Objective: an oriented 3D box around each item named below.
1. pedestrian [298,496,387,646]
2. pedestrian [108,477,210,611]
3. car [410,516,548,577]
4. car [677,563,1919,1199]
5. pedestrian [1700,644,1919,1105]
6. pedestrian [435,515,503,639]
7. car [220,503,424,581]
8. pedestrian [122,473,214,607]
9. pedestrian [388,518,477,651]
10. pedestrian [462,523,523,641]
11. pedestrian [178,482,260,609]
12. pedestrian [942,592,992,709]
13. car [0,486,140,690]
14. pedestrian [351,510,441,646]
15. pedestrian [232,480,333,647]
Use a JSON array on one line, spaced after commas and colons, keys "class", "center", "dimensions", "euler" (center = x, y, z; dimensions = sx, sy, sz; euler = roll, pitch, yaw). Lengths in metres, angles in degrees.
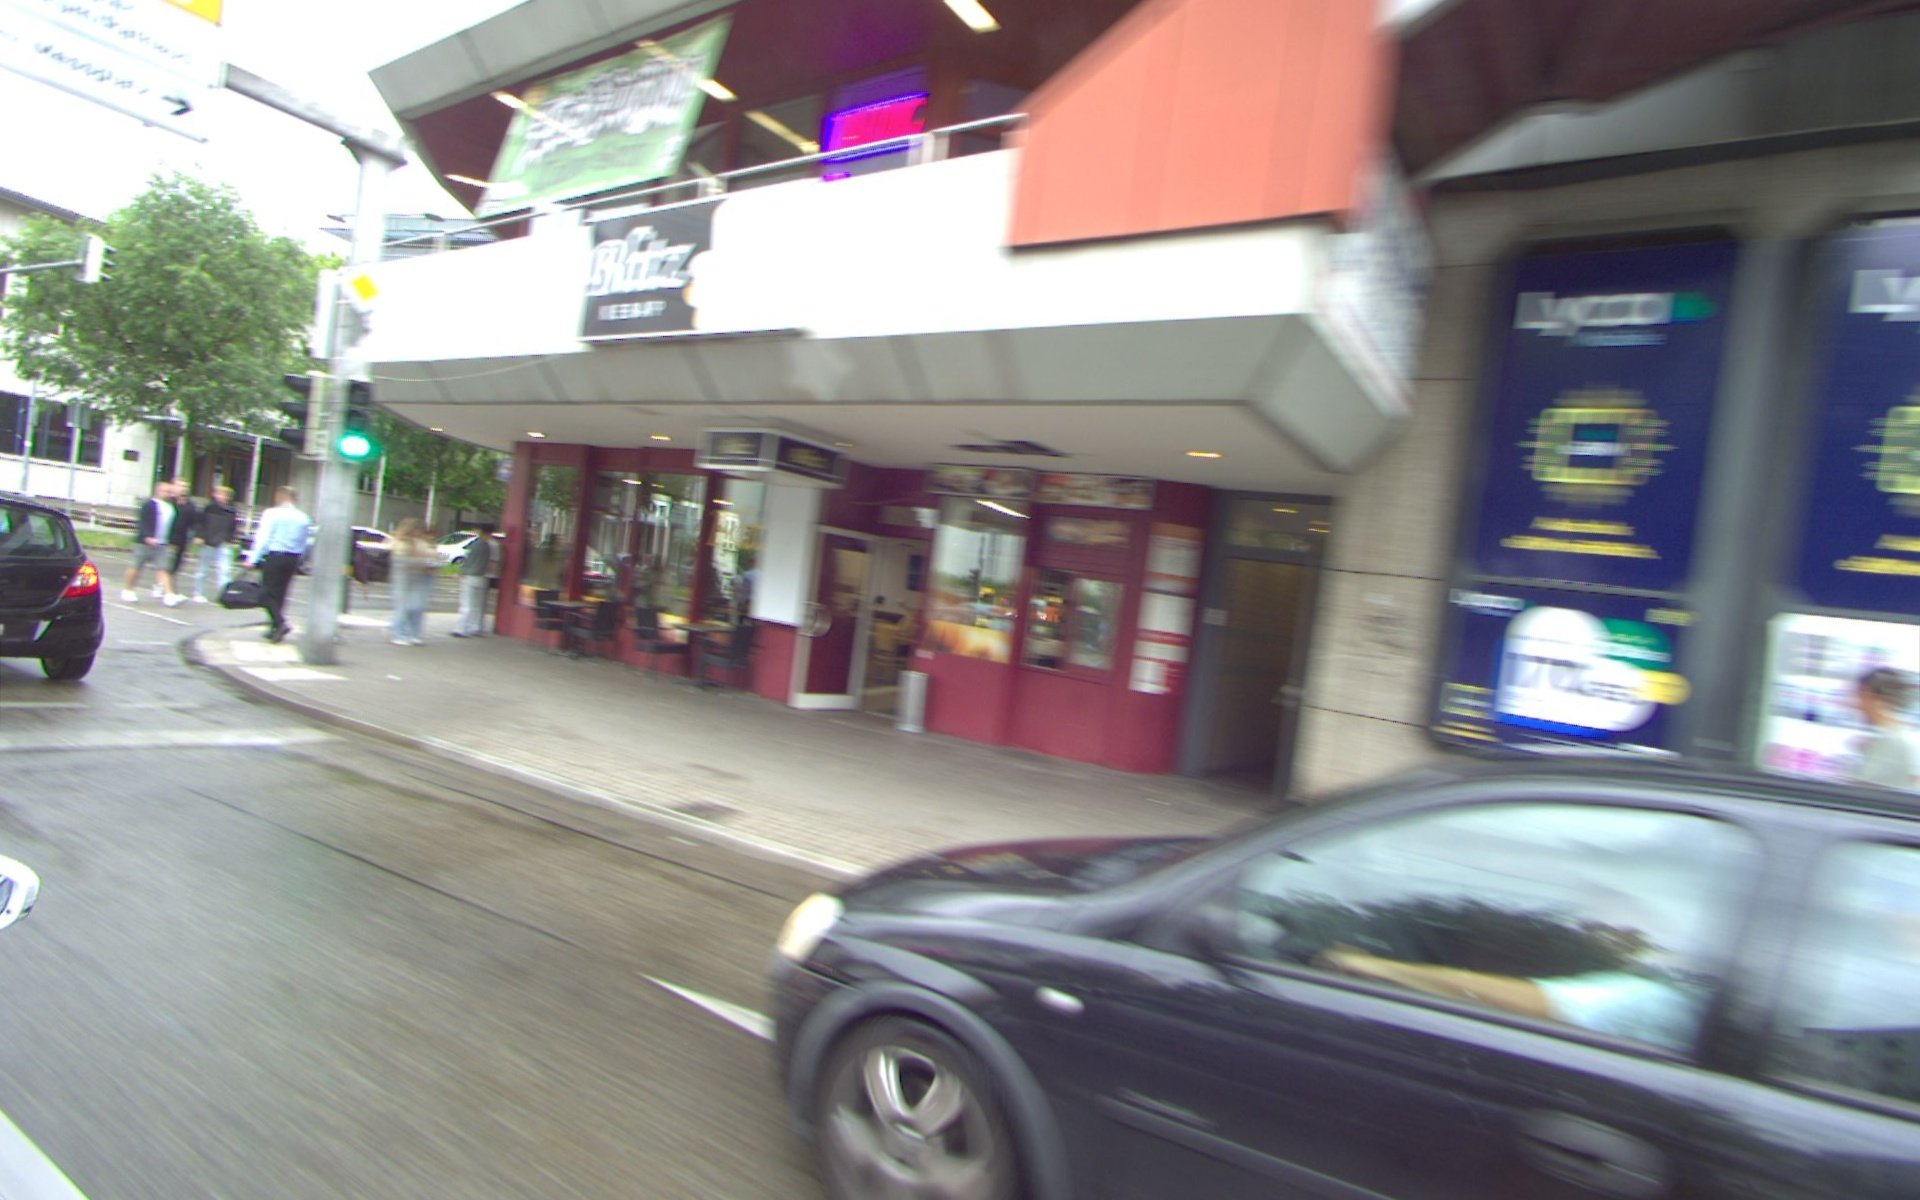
[{"class": "pedestrian", "center": [-7.764, -0.356, 12.650], "dimensions": [0.667, 1.795, 0.622], "euler": [6, 0, 38]}, {"class": "pedestrian", "center": [-11.569, -0.802, 14.536], "dimensions": [0.872, 1.802, 0.749], "euler": [6, 1, 28]}, {"class": "car", "center": [-18.268, -1.995, 38.463], "dimensions": [1.822, 1.781, 4.606], "euler": [7, 0, 22]}, {"class": "car", "center": [1.260, 0.906, 2.387], "dimensions": [3.567, 1.458, 1.594], "euler": [8, 1, 31]}, {"class": "pedestrian", "center": [4.011, 1.160, 4.633], "dimensions": [0.793, 1.805, 0.894], "euler": [6, 5, 35]}, {"class": "pedestrian", "center": [-7.388, -0.337, 15.146], "dimensions": [0.485, 1.784, 0.596], "euler": [6, 0, 32]}, {"class": "car", "center": [-16.577, -1.455, 26.425], "dimensions": [1.754, 1.437, 4.273], "euler": [8, 0, 19]}, {"class": "pedestrian", "center": [-12.088, -0.908, 15.363], "dimensions": [0.777, 1.925, 0.759], "euler": [6, 1, 31]}, {"class": "pedestrian", "center": [-7.313, -0.215, 13.942], "dimensions": [0.955, 1.729, 0.588], "euler": [8, 3, 34]}, {"class": "pedestrian", "center": [-7.332, -0.278, 15.770], "dimensions": [0.503, 1.784, 0.526], "euler": [6, 0, 32]}, {"class": "pedestrian", "center": [-11.815, -0.864, 16.046], "dimensions": [0.665, 1.919, 0.733], "euler": [6, 1, 31]}, {"class": "pedestrian", "center": [0.087, 0.672, 13.541], "dimensions": [0.500, 1.506, 0.458], "euler": [5, 1, -7]}, {"class": "car", "center": [-8.675, -0.296, 8.211], "dimensions": [3.677, 1.474, 1.712], "euler": [8, 0, 29]}, {"class": "pedestrian", "center": [-7.501, -0.288, 13.378], "dimensions": [0.925, 1.685, 0.574], "euler": [8, 3, 34]}, {"class": "pedestrian", "center": [-8.016, -0.430, 11.908], "dimensions": [0.835, 1.869, 0.622], "euler": [6, 0, 38]}]
